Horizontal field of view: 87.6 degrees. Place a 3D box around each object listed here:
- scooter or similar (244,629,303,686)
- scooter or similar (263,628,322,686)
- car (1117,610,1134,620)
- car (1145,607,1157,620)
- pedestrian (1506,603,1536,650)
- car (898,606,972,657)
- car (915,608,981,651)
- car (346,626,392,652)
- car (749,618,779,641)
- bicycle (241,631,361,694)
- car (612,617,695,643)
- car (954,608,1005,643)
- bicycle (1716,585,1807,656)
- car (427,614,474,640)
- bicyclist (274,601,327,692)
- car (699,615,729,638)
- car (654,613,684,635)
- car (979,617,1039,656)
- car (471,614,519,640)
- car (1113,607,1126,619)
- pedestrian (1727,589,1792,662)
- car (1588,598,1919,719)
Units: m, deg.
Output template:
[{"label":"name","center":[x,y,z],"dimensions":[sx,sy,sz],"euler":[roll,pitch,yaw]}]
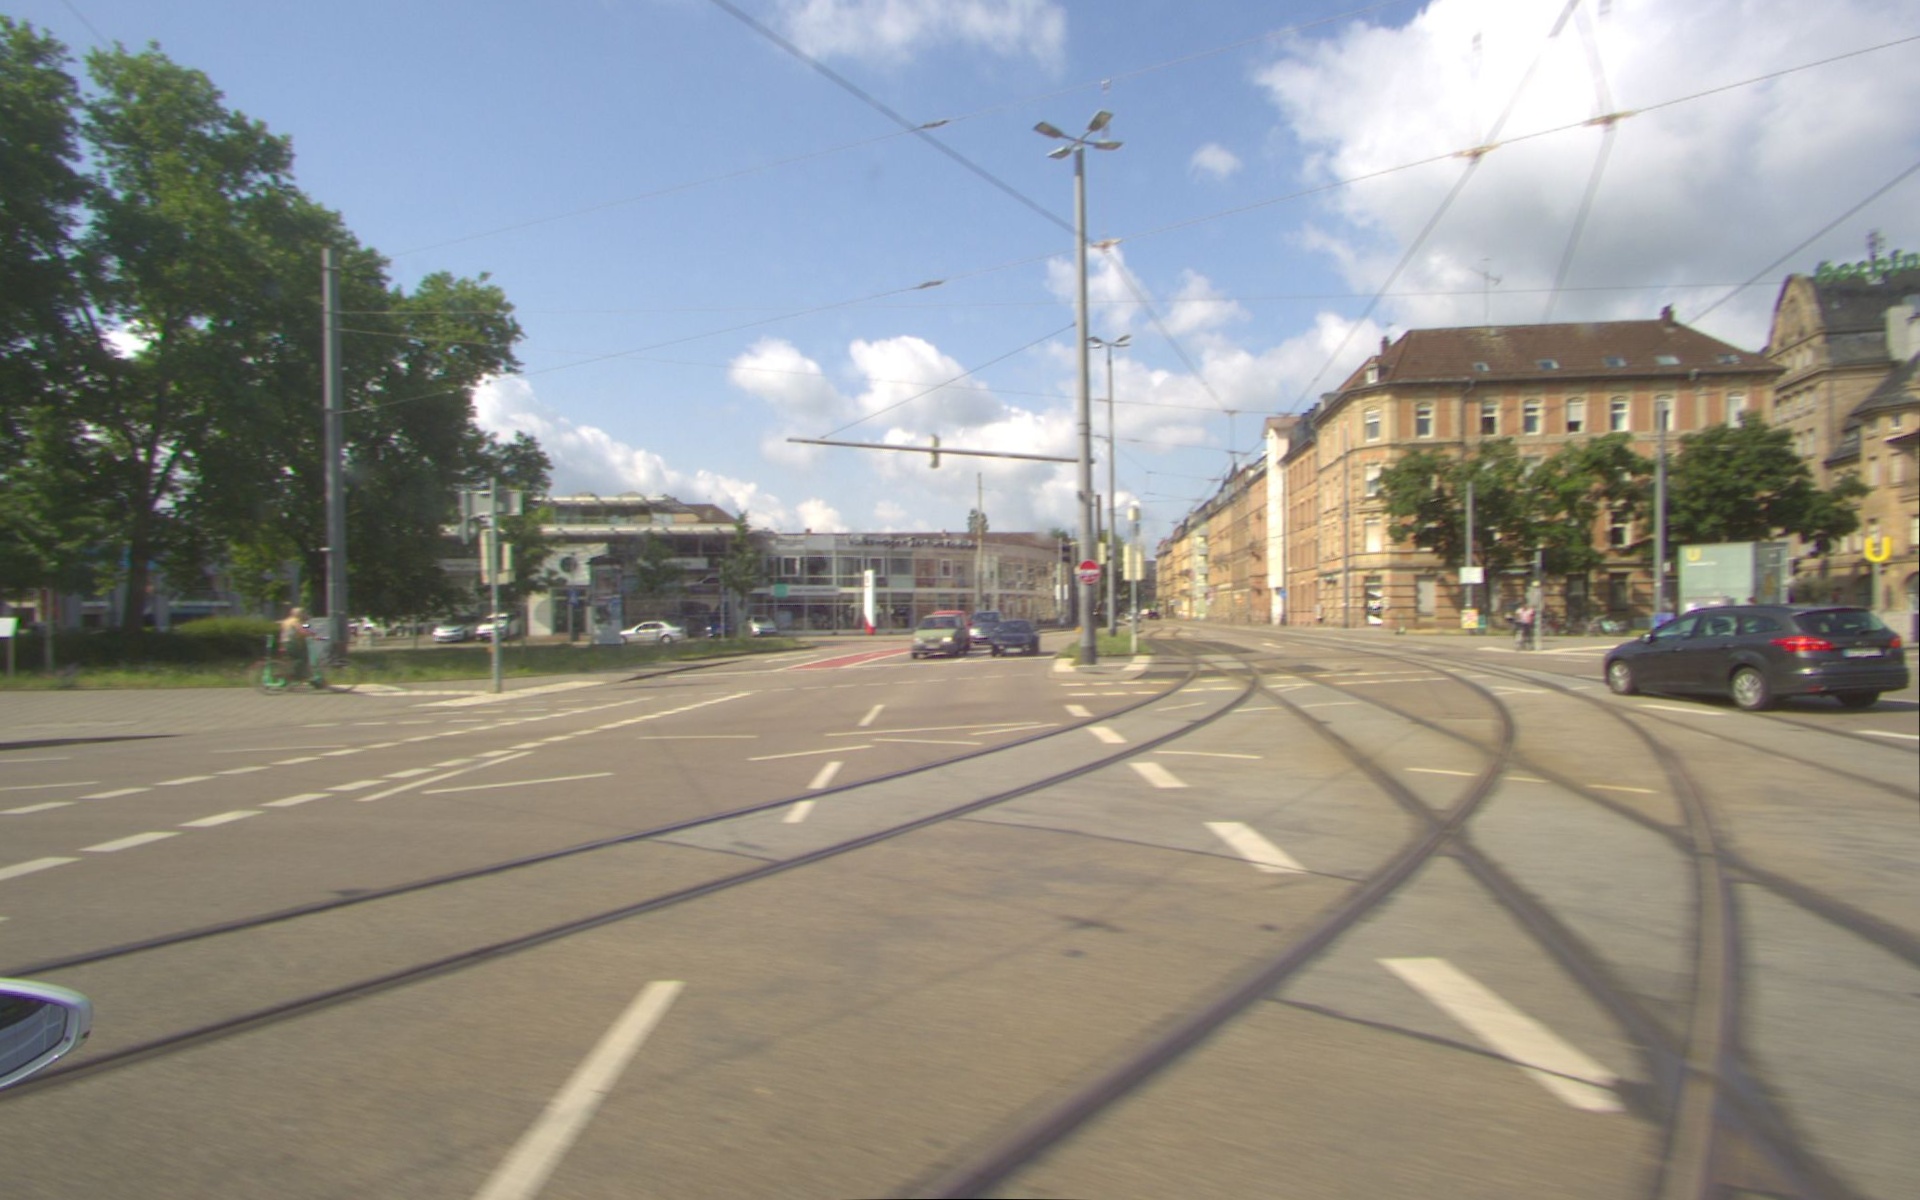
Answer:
[{"label":"scooter or similar","center":[-14.392,1.197,20.997],"dimensions":[0.377,1.173,0.923],"euler":[2,0,38]},{"label":"scooter or similar","center":[-13.850,1.171,20.789],"dimensions":[0.375,1.173,0.926],"euler":[2,0,26]},{"label":"car","center":[21.946,1.961,132.838],"dimensions":[1.961,1.349,3.999],"euler":[0,0,7]},{"label":"car","center":[32.256,2.274,169.134],"dimensions":[1.962,2.039,4.000],"euler":[-1,-2,11]},{"label":"pedestrian","center":[20.462,0.957,36.512],"dimensions":[0.787,1.664,0.703],"euler":[-1,0,-38]},{"label":"car","center":[-0.781,1.047,33.607],"dimensions":[1.791,1.532,4.000],"euler":[-2,-1,8]},{"label":"car","center":[-0.416,1.159,39.384],"dimensions":[1.962,1.538,4.000],"euler":[-2,-1,8]},{"label":"car","center":[-38.996,2.579,66.187],"dimensions":[1.657,1.616,3.994],"euler":[-2,-1,-17]},{"label":"car","center":[-13.798,2.054,70.335],"dimensions":[1.890,1.572,3.996],"euler":[-1,-1,-13]},{"label":"bicycle","center":[-13.195,1.228,20.081],"dimensions":[1.967,1.142,0.784],"euler":[-1,-1,-36]},{"label":"car","center":[-18.484,1.788,60.545],"dimensions":[4.461,1.371,2.000],"euler":[-2,-1,-4]},{"label":"car","center":[0.953,1.192,47.316],"dimensions":[1.961,1.572,3.999],"euler":[0,0,7]},{"label":"bicycle","center":[21.242,0.546,26.605],"dimensions":[0.991,1.747,2.465],"euler":[-2,-1,17]},{"label":"car","center":[-34.013,1.815,66.946],"dimensions":[1.964,1.594,3.995],"euler":[-2,-1,-16]},{"label":"bicyclist","center":[-13.256,0.920,20.129],"dimensions":[0.818,1.767,0.707],"euler":[-1,-1,-36]},{"label":"car","center":[-16.691,1.796,68.075],"dimensions":[1.890,1.463,3.996],"euler":[0,-1,-13]},{"label":"car","center":[-19.958,1.599,68.604],"dimensions":[1.892,1.464,3.992],"euler":[0,0,-17]},{"label":"car","center":[1.700,1.205,33.478],"dimensions":[1.595,1.176,4.000],"euler":[-2,-1,8]},{"label":"car","center":[-31.126,1.804,67.160],"dimensions":[2.035,1.625,3.996],"euler":[-2,0,-12]},{"label":"car","center":[23.581,1.889,147.924],"dimensions":[1.752,1.728,3.999],"euler":[0,0,8]},{"label":"pedestrian","center":[21.240,0.680,26.628],"dimensions":[0.977,1.865,0.995],"euler":[-2,-1,16]},{"label":"car","center":[11.829,0.801,15.255],"dimensions":[1.738,1.548,4.256],"euler":[-1,-1,-1]}]
